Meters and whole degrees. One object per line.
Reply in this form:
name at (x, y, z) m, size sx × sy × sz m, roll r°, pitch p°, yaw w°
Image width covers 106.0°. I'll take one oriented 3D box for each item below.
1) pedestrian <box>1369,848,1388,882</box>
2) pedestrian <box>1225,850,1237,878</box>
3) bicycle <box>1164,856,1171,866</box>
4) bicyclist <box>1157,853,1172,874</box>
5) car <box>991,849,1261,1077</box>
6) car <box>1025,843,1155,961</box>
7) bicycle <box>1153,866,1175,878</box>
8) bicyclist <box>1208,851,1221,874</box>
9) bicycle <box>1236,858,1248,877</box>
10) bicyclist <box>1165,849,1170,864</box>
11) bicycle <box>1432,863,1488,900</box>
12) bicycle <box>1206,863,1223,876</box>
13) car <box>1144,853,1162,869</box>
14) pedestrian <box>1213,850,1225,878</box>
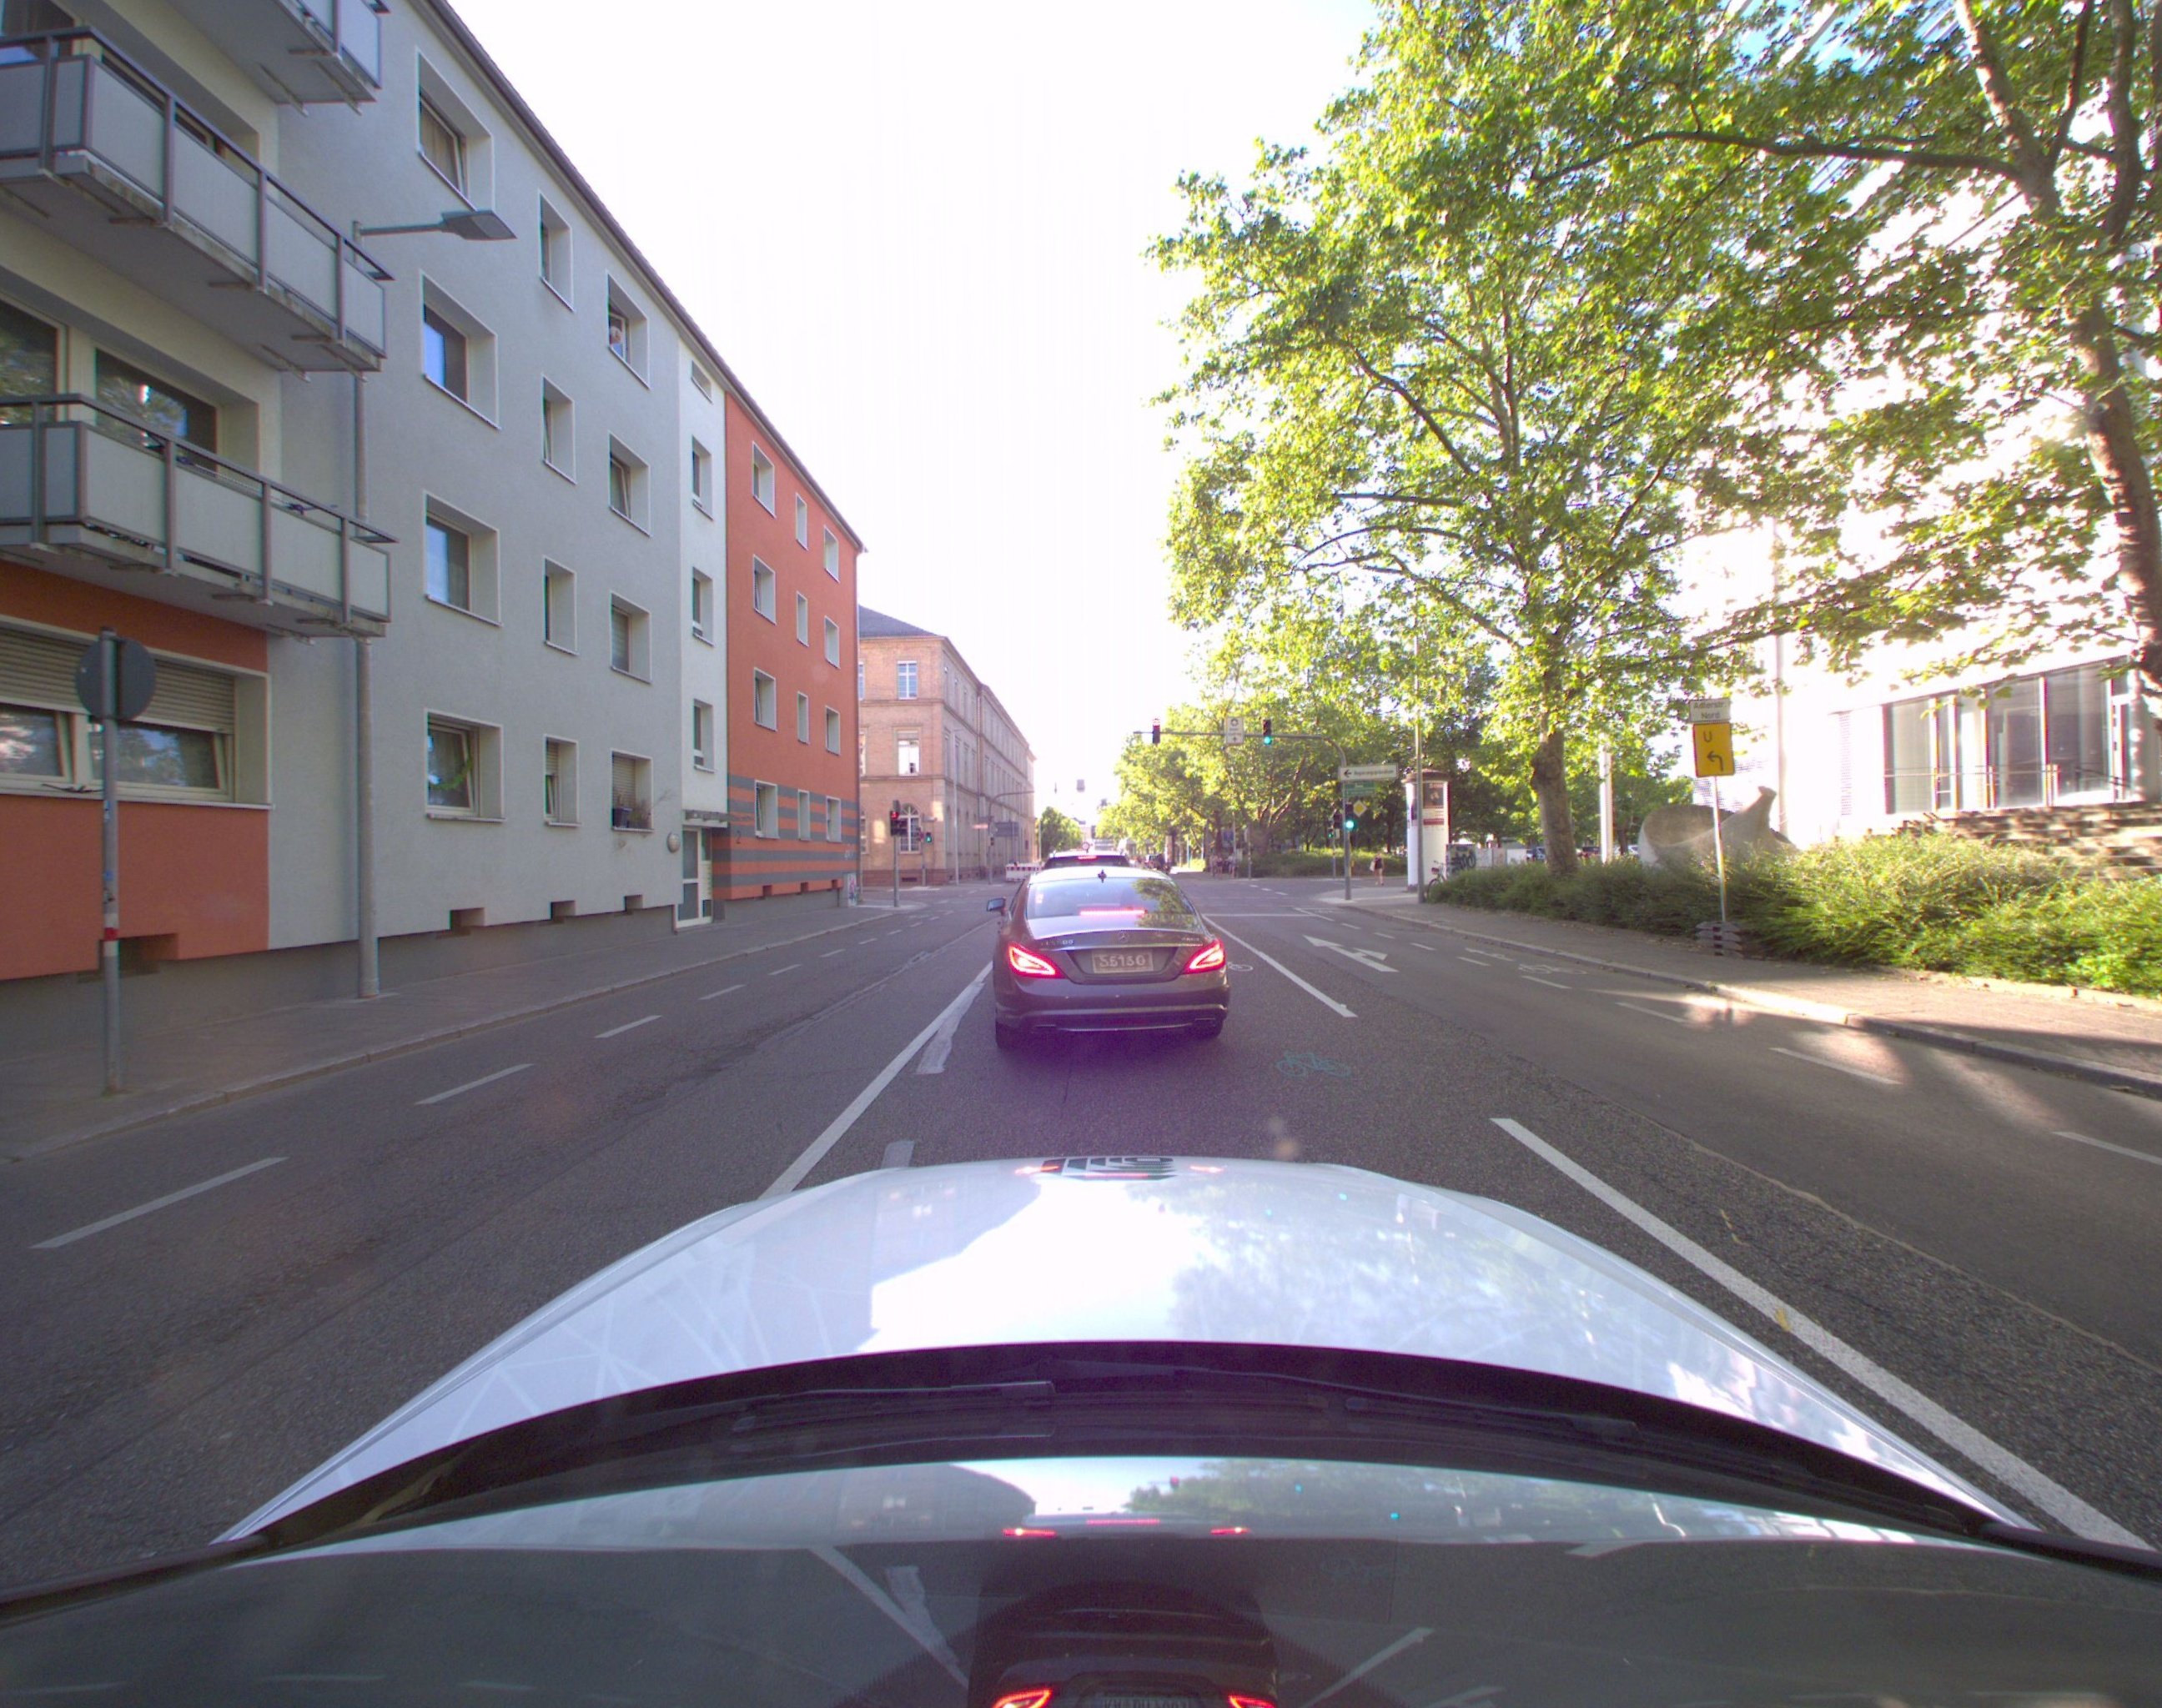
pedestrian at (13.451, 0.492, 36.798) m, size 0.632 × 1.545 × 0.913 m, roll -1°, pitch -1°, yaw 10°
pedestrian at (9.717, 0.657, 52.871) m, size 0.634 × 1.760 × 0.698 m, roll 0°, pitch -1°, yaw -2°
bicycle at (11.135, 0.922, 104.913) m, size 0.590 × 1.263 × 1.804 m, roll 0°, pitch -1°, yaw -3°
bicyclist at (5.503, 0.626, 53.834) m, size 0.726 × 1.398 × 0.703 m, roll -1°, pitch -1°, yaw 30°
car at (0.141, 0.737, 7.589) m, size 1.859 × 1.519 × 3.992 m, roll -1°, pitch 0°, yaw -6°
car at (0.189, 0.695, 13.723) m, size 1.854 × 1.682 × 4.002 m, roll -1°, pitch 0°, yaw 2°
bicycle at (5.517, 1.201, 53.858) m, size 0.716 × 0.791 × 1.940 m, roll -1°, pitch -1°, yaw 30°
bicyclist at (9.369, 0.577, 57.236) m, size 0.822 × 1.618 × 0.958 m, roll 0°, pitch -1°, yaw 1°
bicycle at (10.406, 0.887, 52.771) m, size 0.480 × 1.202 × 1.607 m, roll 0°, pitch -1°, yaw 2°
bicyclist at (11.133, 0.319, 104.905) m, size 0.593 × 2.039 × 0.566 m, roll 0°, pitch -1°, yaw -2°
bicycle at (10.981, 0.780, 23.562) m, size 1.895 × 1.028 × 0.635 m, roll 0°, pitch -1°, yaw -36°
bicycle at (9.369, 1.080, 57.255) m, size 0.825 × 0.924 × 2.618 m, roll 0°, pitch 0°, yaw 2°
car at (8.349, 0.822, 95.048) m, size 1.854 × 1.764 × 4.483 m, roll -1°, pitch 0°, yaw 2°
pedestrian at (9.003, 0.653, 53.155) m, size 0.634 × 1.797 × 0.698 m, roll 0°, pitch -1°, yaw -2°
